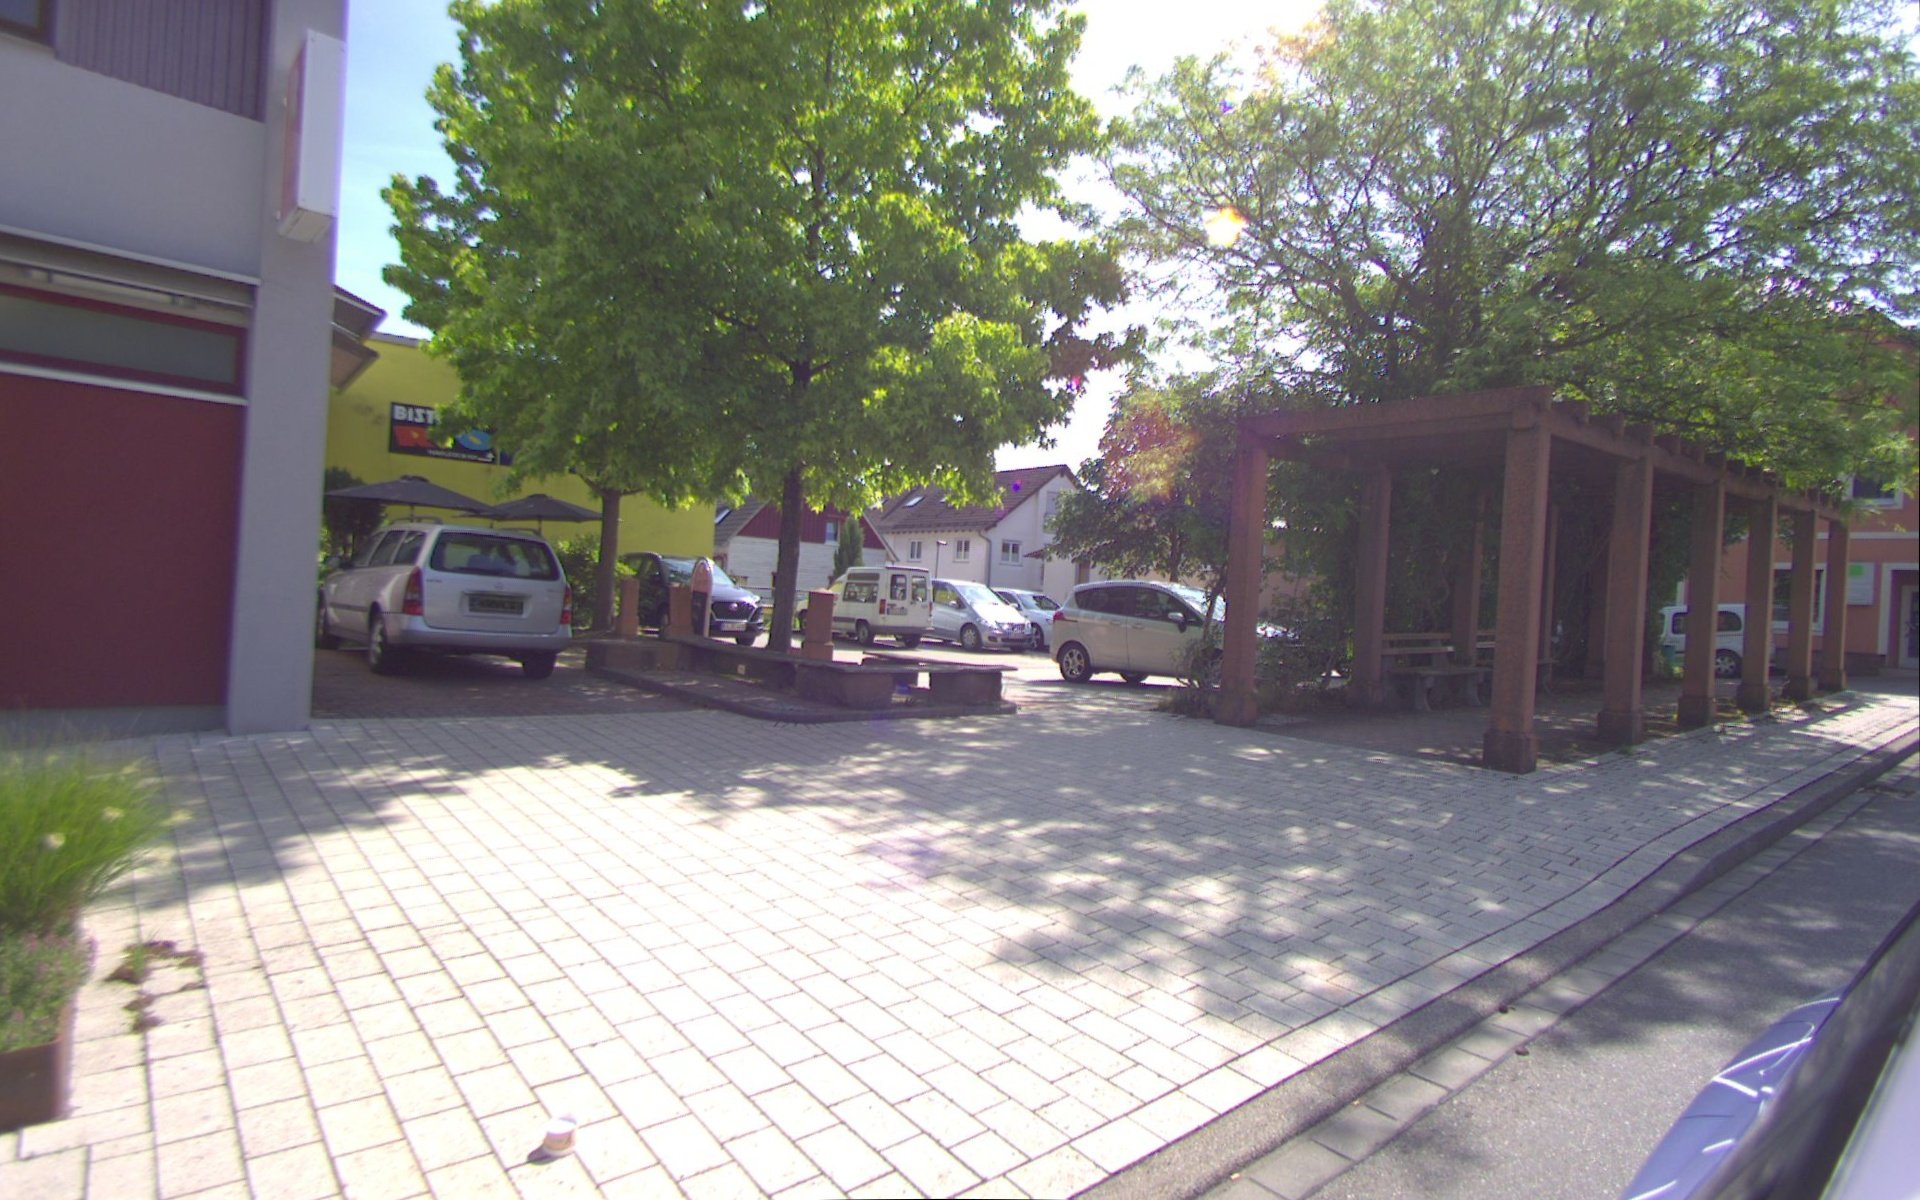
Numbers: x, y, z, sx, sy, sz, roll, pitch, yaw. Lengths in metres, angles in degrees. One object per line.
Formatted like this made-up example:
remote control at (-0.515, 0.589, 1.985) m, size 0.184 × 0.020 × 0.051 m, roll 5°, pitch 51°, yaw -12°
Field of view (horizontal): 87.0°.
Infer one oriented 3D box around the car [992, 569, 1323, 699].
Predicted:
car at (2.657, 0.407, 14.512) m, size 1.695 × 1.564 × 4.487 m, roll 5°, pitch -2°, yaw -42°

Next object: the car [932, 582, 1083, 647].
car at (1.152, 0.320, 25.954) m, size 1.626 × 1.509 × 3.876 m, roll 1°, pitch 1°, yaw -42°

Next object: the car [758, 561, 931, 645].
car at (-2.721, 0.012, 23.174) m, size 1.852 × 1.762 × 4.180 m, roll 1°, pitch 1°, yaw -42°

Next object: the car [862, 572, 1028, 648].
car at (-0.423, 0.183, 23.967) m, size 1.726 × 1.631 × 3.978 m, roll 1°, pitch 1°, yaw -42°

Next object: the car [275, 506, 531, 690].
car at (-5.836, -0.055, 10.385) m, size 1.693 × 1.529 × 3.707 m, roll 1°, pitch 1°, yaw -38°

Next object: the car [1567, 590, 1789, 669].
car at (17.708, 0.765, 25.151) m, size 1.778 × 1.777 × 4.098 m, roll 1°, pitch -3°, yaw -35°

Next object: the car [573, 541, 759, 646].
car at (-5.735, -0.175, 19.433) m, size 1.877 × 1.728 × 3.996 m, roll 4°, pitch 0°, yaw -40°
